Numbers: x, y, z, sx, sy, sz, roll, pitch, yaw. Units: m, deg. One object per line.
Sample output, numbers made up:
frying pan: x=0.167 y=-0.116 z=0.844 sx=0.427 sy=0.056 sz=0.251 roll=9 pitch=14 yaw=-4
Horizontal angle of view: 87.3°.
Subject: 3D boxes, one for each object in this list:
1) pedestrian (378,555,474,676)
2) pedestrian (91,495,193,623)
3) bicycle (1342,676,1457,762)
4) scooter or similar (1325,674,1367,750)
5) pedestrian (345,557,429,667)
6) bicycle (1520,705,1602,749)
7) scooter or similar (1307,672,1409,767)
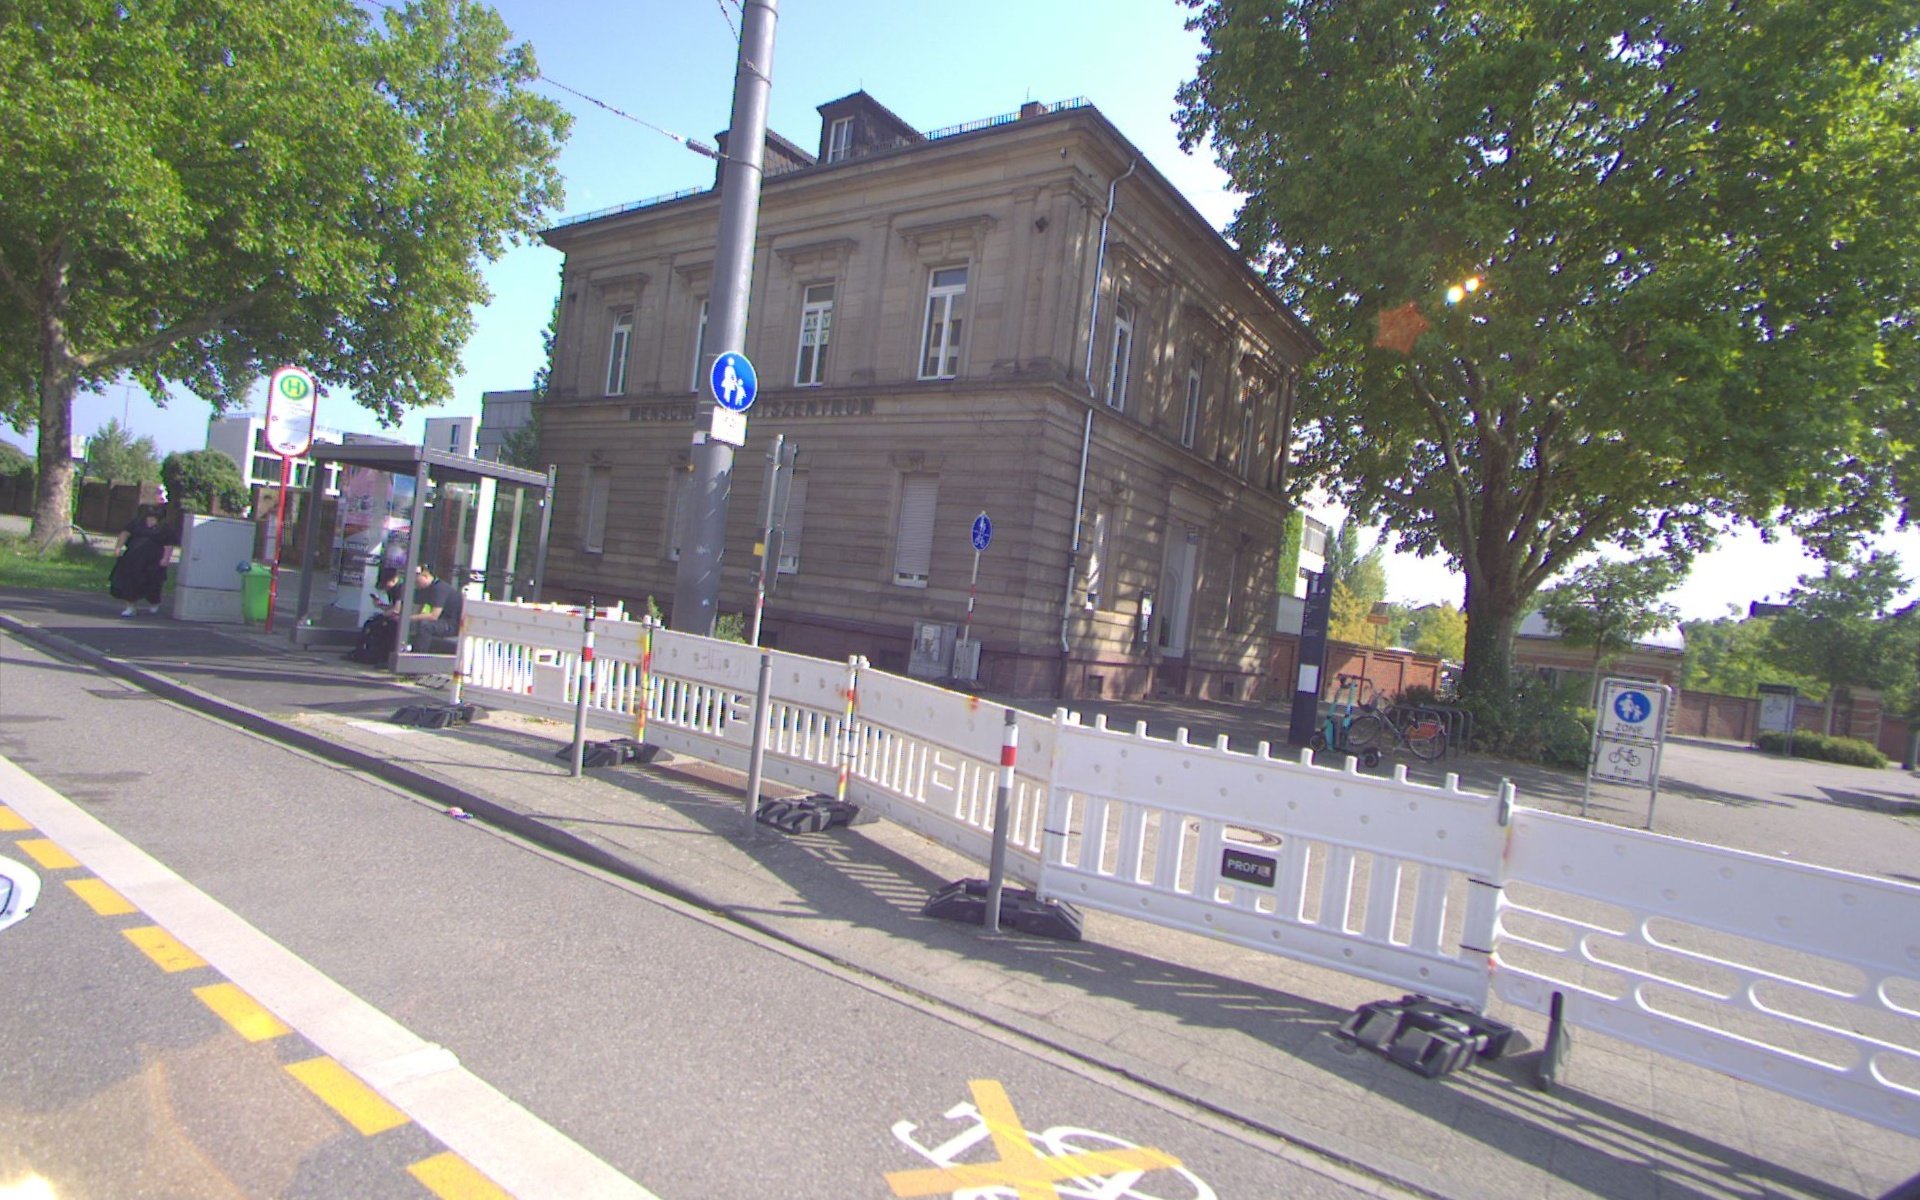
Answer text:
pedestrian: x=-6.120 y=0.175 z=11.530 sx=0.747 sy=1.294 sz=0.608 roll=7 pitch=2 yaw=34
pedestrian: x=-11.409 y=-0.565 z=14.030 sx=0.811 sy=1.646 sz=0.880 roll=7 pitch=1 yaw=42
bicycle: x=7.406 y=1.987 z=17.006 sx=1.606 sy=1.181 sz=0.497 roll=7 pitch=1 yaw=41
scooter or similar: x=6.201 y=1.778 z=16.150 sx=0.307 sy=1.147 sz=1.092 roll=7 pitch=0 yaw=32
pedestrian: x=-6.819 y=0.146 z=11.968 sx=0.565 sy=1.234 sz=0.608 roll=7 pitch=2 yaw=33
bicycle: x=16.479 y=3.467 z=27.603 sx=1.771 sy=0.871 sz=0.566 roll=9 pitch=2 yaw=44
scooter or similar: x=5.811 y=1.729 z=14.734 sx=1.208 sy=1.181 sz=0.408 roll=7 pitch=1 yaw=41
